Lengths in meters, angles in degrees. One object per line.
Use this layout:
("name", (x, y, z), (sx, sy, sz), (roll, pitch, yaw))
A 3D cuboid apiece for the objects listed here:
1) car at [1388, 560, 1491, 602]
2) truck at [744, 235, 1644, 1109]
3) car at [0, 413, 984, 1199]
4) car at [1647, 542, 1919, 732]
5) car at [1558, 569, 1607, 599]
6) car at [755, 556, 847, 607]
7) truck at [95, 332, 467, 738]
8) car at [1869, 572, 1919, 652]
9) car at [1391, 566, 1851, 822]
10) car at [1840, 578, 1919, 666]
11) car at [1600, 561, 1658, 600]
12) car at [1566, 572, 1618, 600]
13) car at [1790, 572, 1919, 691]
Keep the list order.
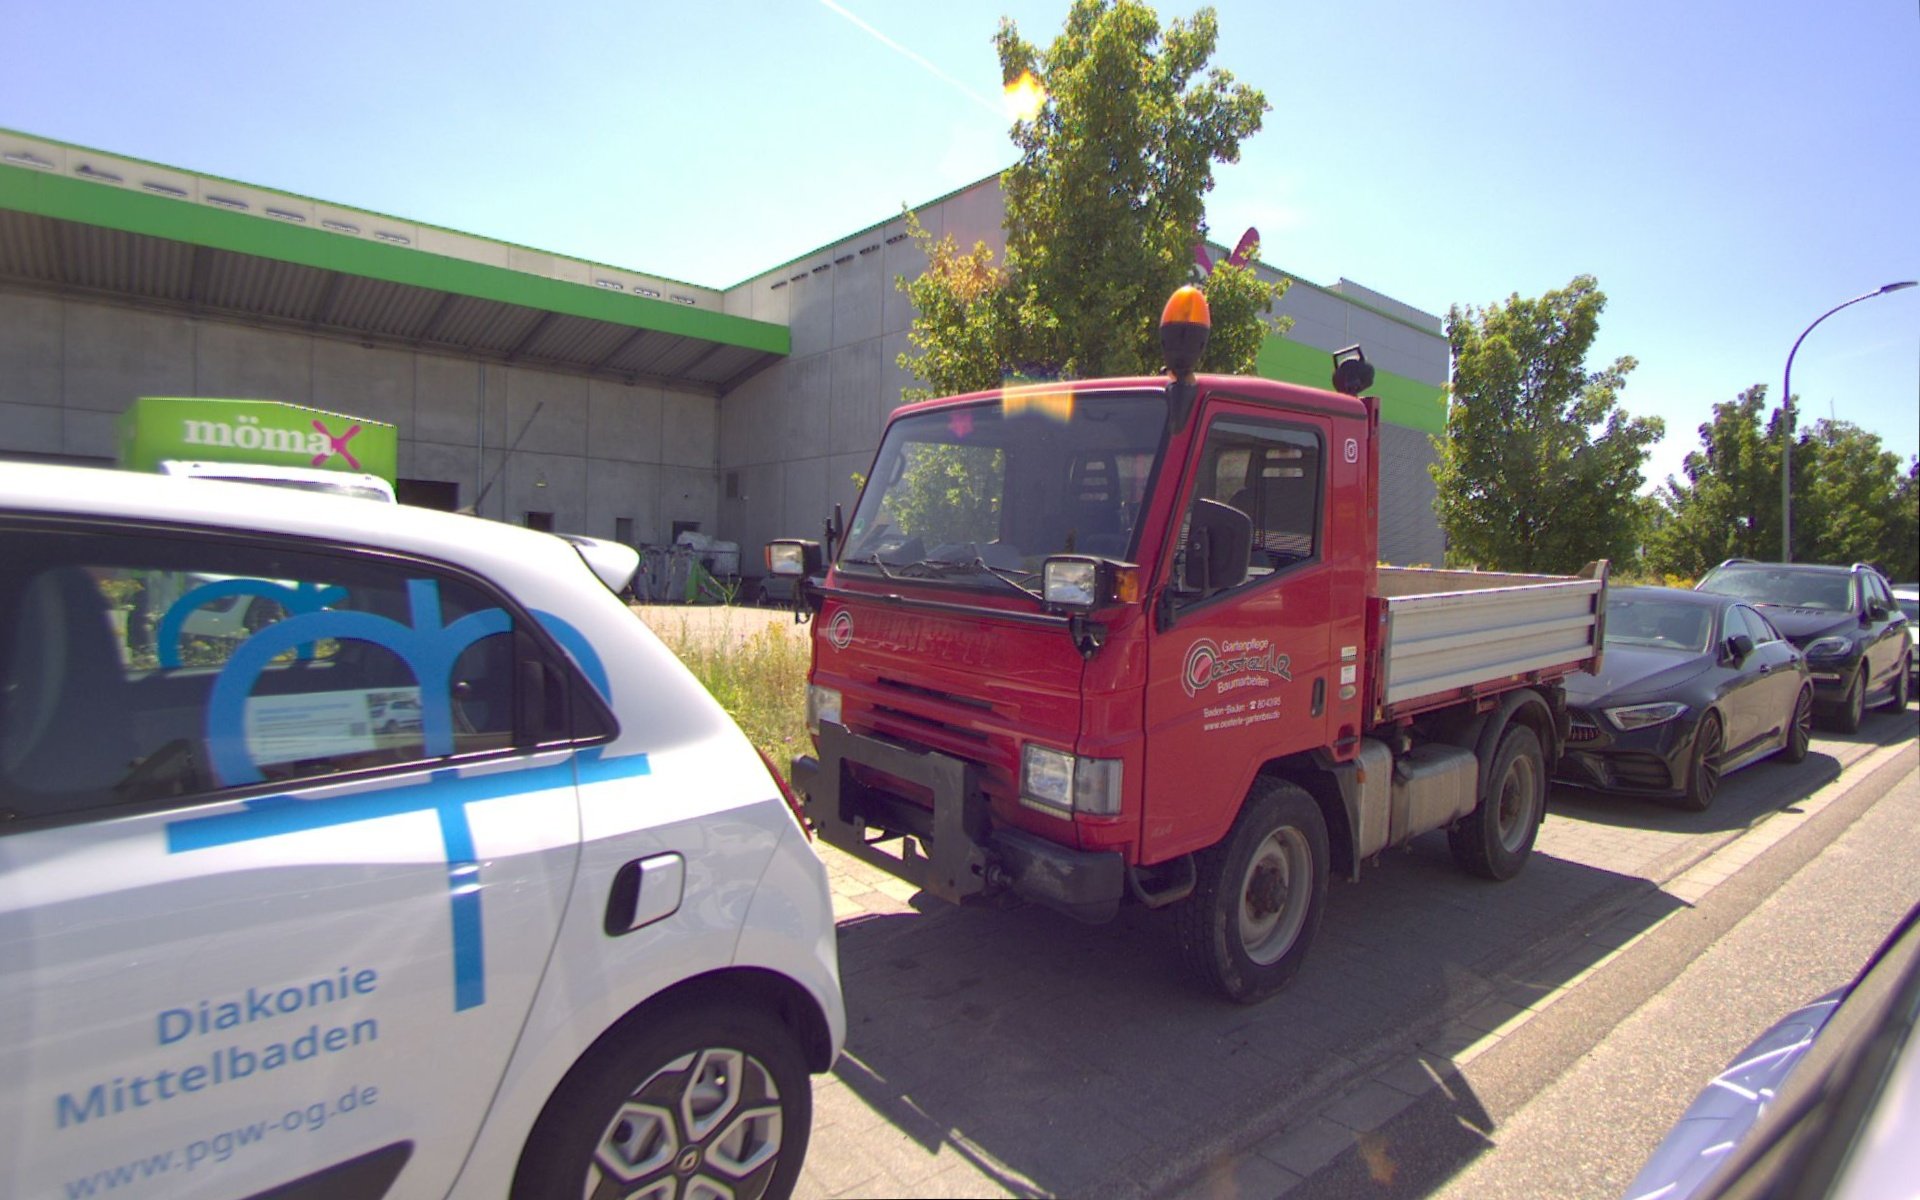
("car", (18.611, -0.730, 39.205), (4.324, 1.517, 1.998), (0, 3, -41))
("truck", (1.386, 0.123, 4.598), (4.313, 2.207, 1.683), (0, 4, -41))
("car", (-2.007, 0.489, 1.651), (3.932, 1.549, 1.742), (-1, 4, -42))
("car", (9.871, 0.320, 11.769), (4.688, 1.746, 1.816), (0, 4, -40))
("car", (46.603, -1.218, 75.709), (4.326, 2.171, 1.951), (-1, 3, -42))
("car", (-5.286, -0.647, 33.344), (1.521, 1.552, 3.397), (0, 3, -38))
("truck", (-7.117, -0.616, 10.211), (2.267, 2.907, 5.911), (0, 3, -42))
("car", (23.184, 0.304, 23.835), (4.464, 1.721, 1.954), (0, 4, -40))
("car", (5.427, 0.506, 8.012), (4.752, 1.400, 1.702), (0, 4, -40))
("car", (18.442, 0.399, 19.447), (4.694, 1.500, 1.807), (0, 4, -44))
("car", (49.079, -1.428, 74.203), (4.663, 2.776, 2.000), (-1, 3, -37))
("car", (44.423, -1.004, 71.096), (4.326, 1.808, 1.951), (-1, 3, -42))
("car", (14.052, 0.409, 15.285), (4.694, 1.500, 1.716), (0, 4, -44))
